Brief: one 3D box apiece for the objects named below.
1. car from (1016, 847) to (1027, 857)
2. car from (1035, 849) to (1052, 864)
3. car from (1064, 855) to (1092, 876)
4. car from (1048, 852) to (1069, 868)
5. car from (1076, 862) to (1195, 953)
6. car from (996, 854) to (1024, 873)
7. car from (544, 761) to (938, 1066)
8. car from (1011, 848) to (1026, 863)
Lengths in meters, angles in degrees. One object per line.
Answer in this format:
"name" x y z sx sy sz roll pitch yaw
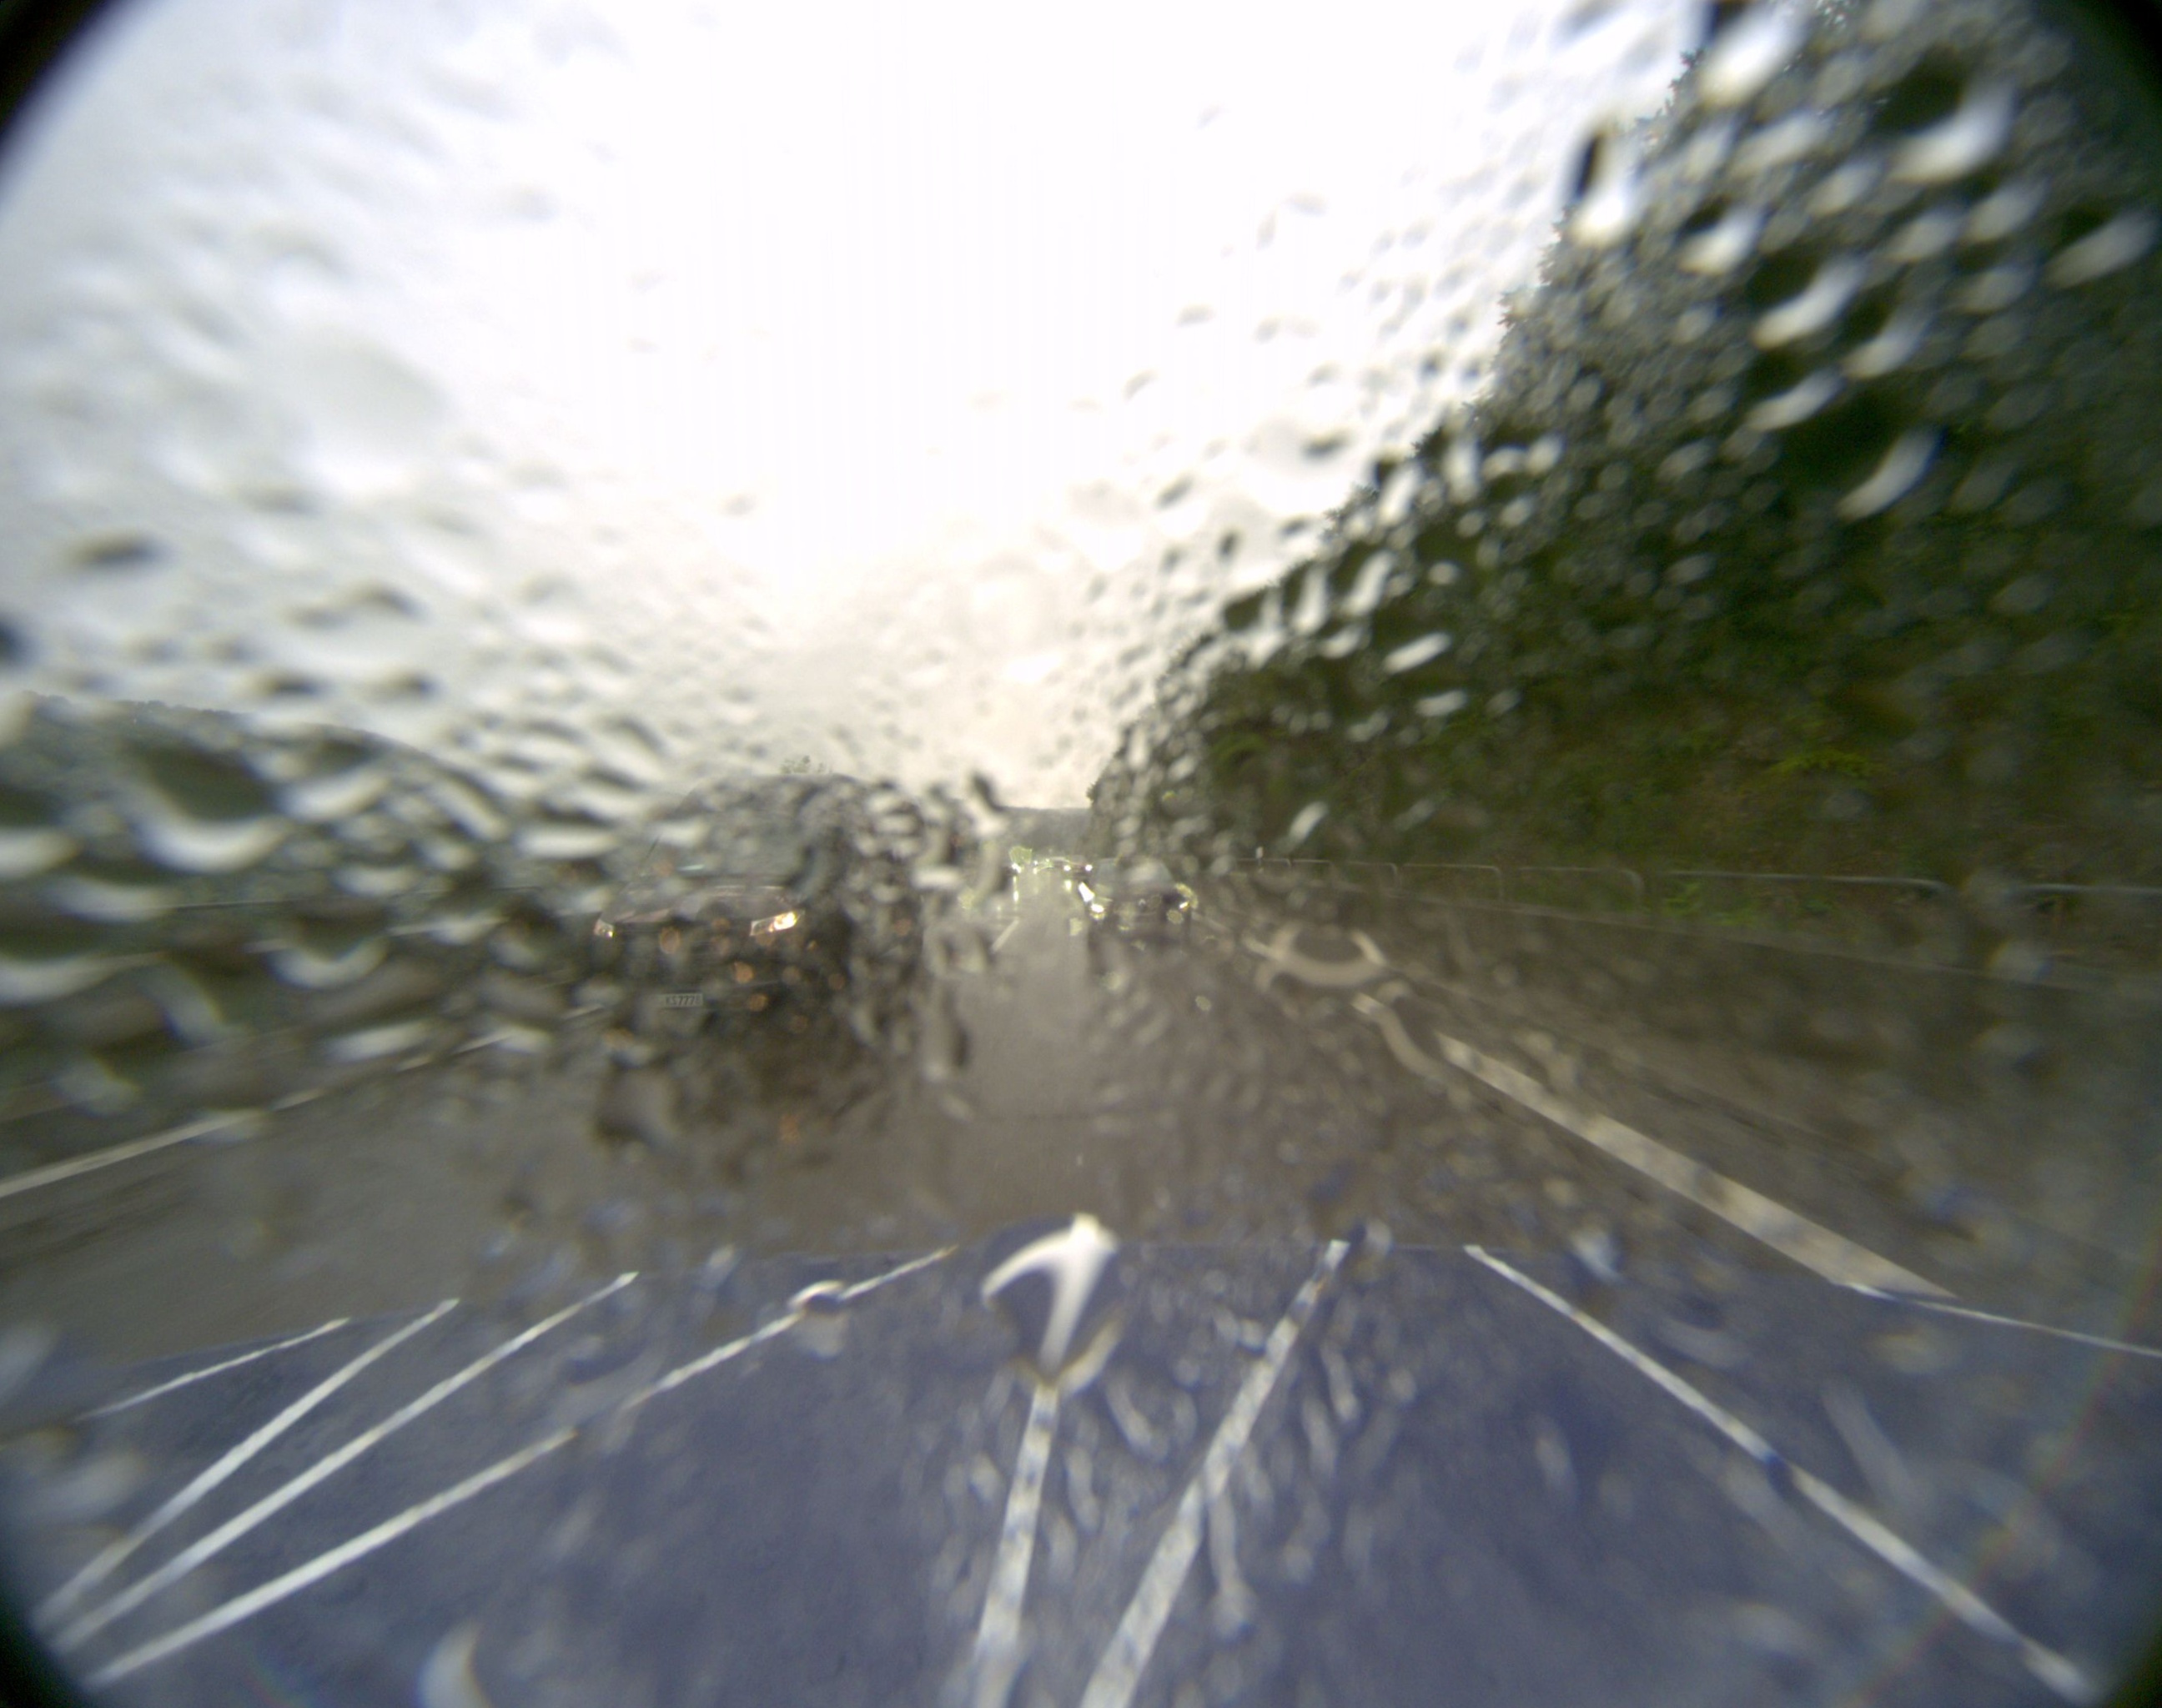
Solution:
"car" -9.959 -0.286 128.114 1.711 1.609 3.341 2 1 -3
"car" -4.406 0.290 88.800 1.806 1.723 3.764 -1 0 -4
"car" -0.221 0.699 48.889 1.713 1.316 3.944 0 0 -2
"car" -2.296 0.574 77.002 1.907 1.545 4.562 1 0 -4
"car" 0.875 0.889 14.371 1.839 1.316 4.134 -2 0 -1
"car" -5.602 0.730 60.438 1.991 1.407 4.563 1 0 -2
"car" -3.441 0.464 9.662 1.999 2.480 6.703 -2 1 -1
"car" -8.065 0.136 97.730 1.766 1.851 3.766 -1 1 -3
